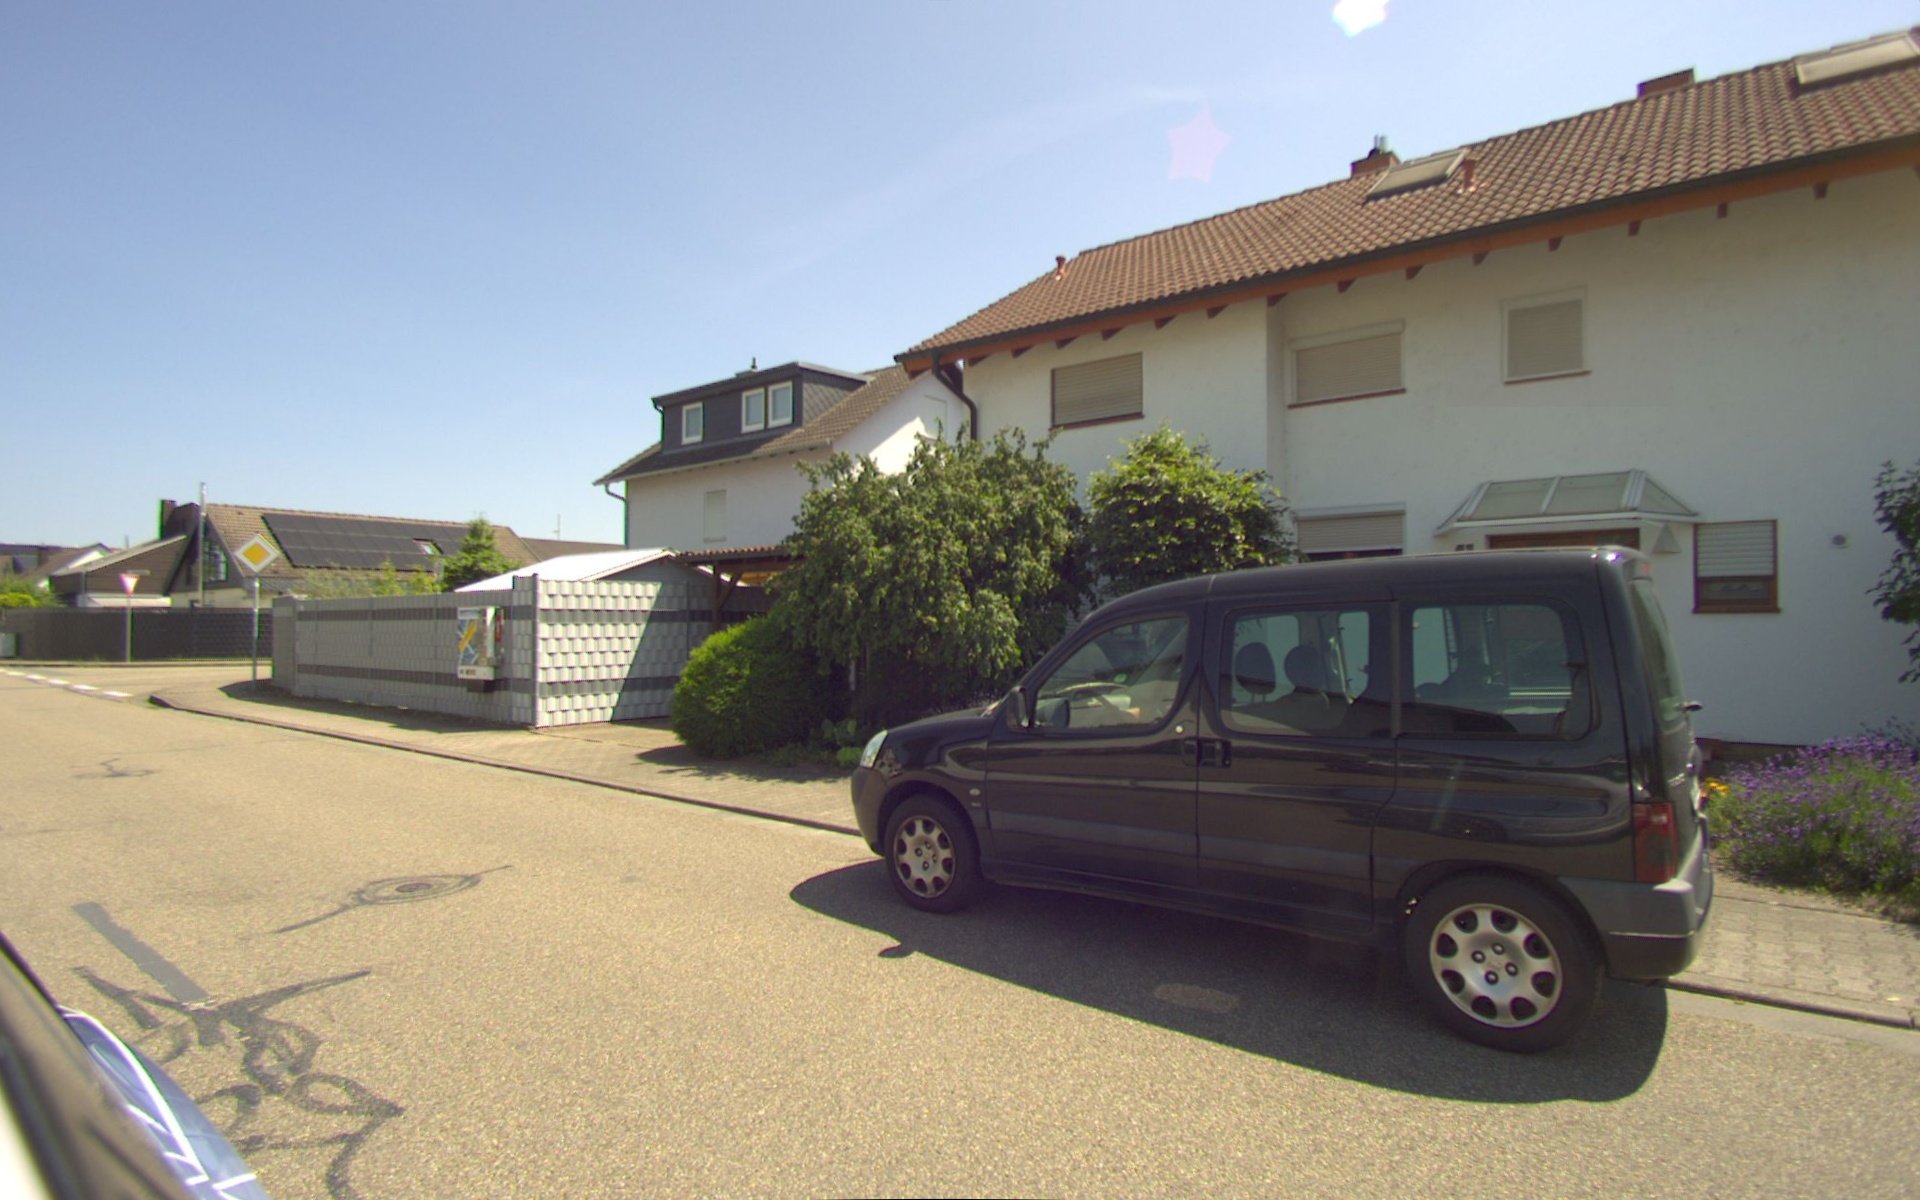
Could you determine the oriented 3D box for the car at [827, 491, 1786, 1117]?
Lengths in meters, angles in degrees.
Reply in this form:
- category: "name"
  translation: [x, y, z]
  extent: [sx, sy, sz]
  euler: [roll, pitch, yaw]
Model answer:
- category: "car"
  translation: [1.374, 0.647, 4.952]
  extent: [4.049, 1.860, 1.702]
  euler: [-1, -2, 38]
